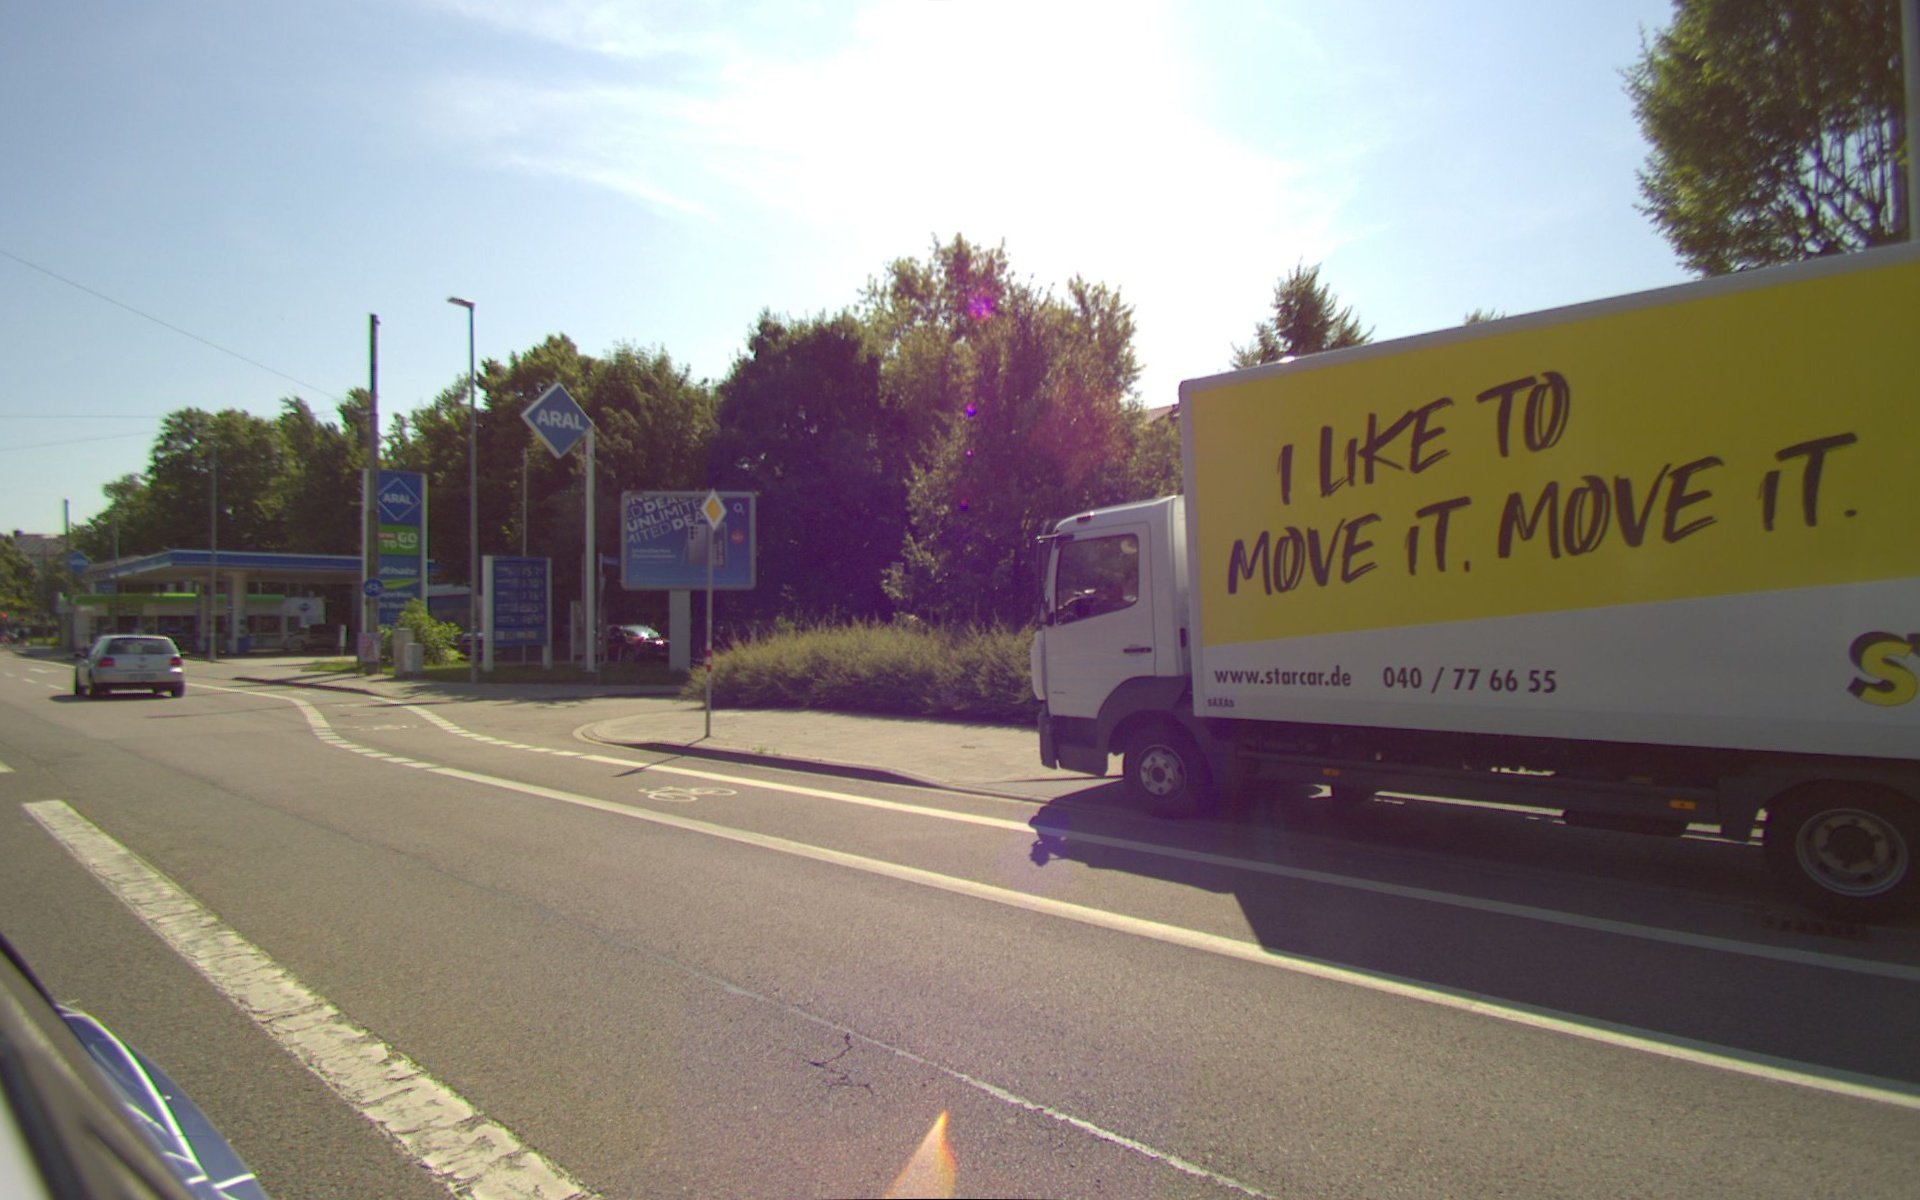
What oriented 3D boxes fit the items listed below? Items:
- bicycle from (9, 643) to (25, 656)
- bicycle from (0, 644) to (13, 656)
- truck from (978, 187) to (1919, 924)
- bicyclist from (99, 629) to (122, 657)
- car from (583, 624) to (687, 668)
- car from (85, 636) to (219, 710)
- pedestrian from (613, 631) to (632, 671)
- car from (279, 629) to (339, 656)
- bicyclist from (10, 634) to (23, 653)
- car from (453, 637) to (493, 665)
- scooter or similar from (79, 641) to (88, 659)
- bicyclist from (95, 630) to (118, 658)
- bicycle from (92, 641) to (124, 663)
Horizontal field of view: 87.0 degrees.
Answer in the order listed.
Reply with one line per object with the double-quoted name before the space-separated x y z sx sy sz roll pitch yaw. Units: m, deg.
"bicycle" -88.854 4.628 95.323 2.211 1.184 0.927 -2 -2 43
"bicycle" -88.211 4.645 93.341 2.069 1.066 0.745 -2 -2 33
"truck" 4.262 -0.189 7.006 8.588 3.557 2.639 -2 0 42
"bicyclist" -44.878 2.283 53.445 0.832 1.447 0.837 -5 -4 43
"car" -12.729 1.806 39.489 4.515 1.582 1.780 -4 -4 41
"car" -17.473 1.526 21.817 4.310 1.431 1.640 -2 -4 44
"pedestrian" -12.866 1.939 38.585 0.500 1.492 0.493 -2 -2 41
"car" -44.108 2.871 68.512 5.960 1.795 1.825 -2 -2 40
"bicyclist" -88.758 4.106 95.232 0.826 1.687 0.826 -4 -3 41
"car" -25.054 2.604 52.061 1.774 1.356 4.257 0 -2 -25
"scooter or similar" -63.293 3.592 73.056 0.435 1.247 1.348 1 -2 -39
"bicyclist" -45.544 2.337 53.985 0.832 1.447 0.838 -4 -3 43
"bicycle" -45.034 2.743 53.492 2.770 1.103 0.817 -2 -3 41
